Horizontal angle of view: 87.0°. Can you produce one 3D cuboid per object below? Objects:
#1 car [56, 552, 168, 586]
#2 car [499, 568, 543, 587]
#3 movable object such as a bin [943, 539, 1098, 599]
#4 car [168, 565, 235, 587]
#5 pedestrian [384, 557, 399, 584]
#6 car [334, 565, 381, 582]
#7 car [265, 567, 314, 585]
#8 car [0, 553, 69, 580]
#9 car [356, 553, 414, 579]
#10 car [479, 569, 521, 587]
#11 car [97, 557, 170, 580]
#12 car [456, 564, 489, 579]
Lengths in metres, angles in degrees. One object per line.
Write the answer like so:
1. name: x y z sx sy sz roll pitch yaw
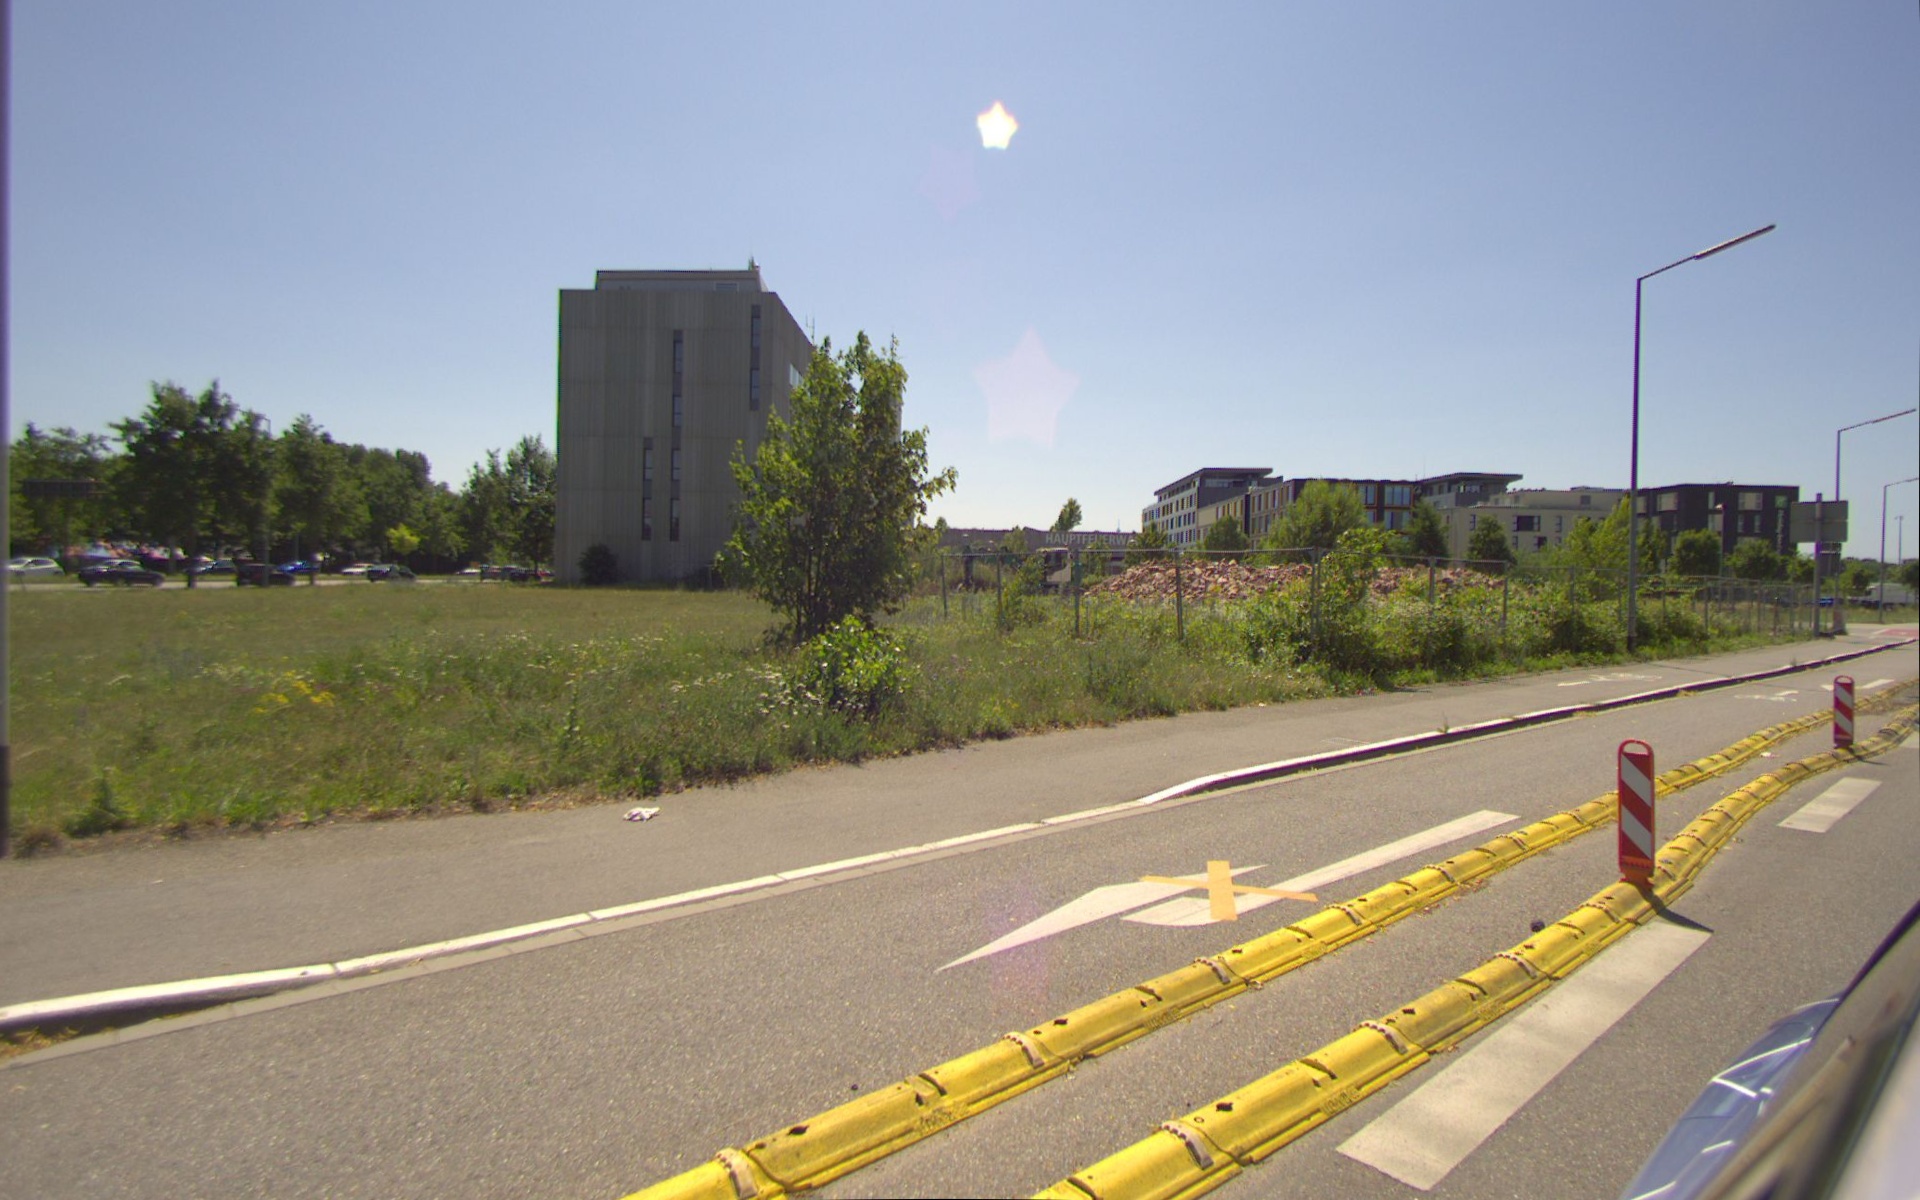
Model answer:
1. car: -46.926 -1.683 56.176 1.960 1.757 5.334 0 0 -4
2. car: -41.993 -2.158 96.869 1.964 1.757 4.639 0 0 4
3. movable object such as a bin: 3.192 -1.587 53.325 7.537 2.952 3.242 -1 0 -26
4. car: -58.719 -1.862 78.463 1.814 1.612 4.443 0 0 1
5. pedestrian: -33.958 -1.754 60.473 0.652 1.611 0.557 0 0 -15
6. car: -58.315 -2.570 98.062 1.814 1.612 4.443 0 0 1
7. car: -61.595 -2.183 93.096 1.734 1.557 3.997 0 0 3
8. car: -59.032 -2.100 63.815 1.814 1.612 4.443 0 0 1
9. car: -45.131 -2.659 79.518 1.961 1.961 4.645 0 0 -1
10. car: -47.179 -2.270 103.854 1.964 1.757 4.639 0 0 4
11. car: -62.106 -2.341 76.176 1.814 1.611 4.444 1 1 1
12. car: -57.923 -3.358 120.299 1.814 1.612 4.444 0 0 1
